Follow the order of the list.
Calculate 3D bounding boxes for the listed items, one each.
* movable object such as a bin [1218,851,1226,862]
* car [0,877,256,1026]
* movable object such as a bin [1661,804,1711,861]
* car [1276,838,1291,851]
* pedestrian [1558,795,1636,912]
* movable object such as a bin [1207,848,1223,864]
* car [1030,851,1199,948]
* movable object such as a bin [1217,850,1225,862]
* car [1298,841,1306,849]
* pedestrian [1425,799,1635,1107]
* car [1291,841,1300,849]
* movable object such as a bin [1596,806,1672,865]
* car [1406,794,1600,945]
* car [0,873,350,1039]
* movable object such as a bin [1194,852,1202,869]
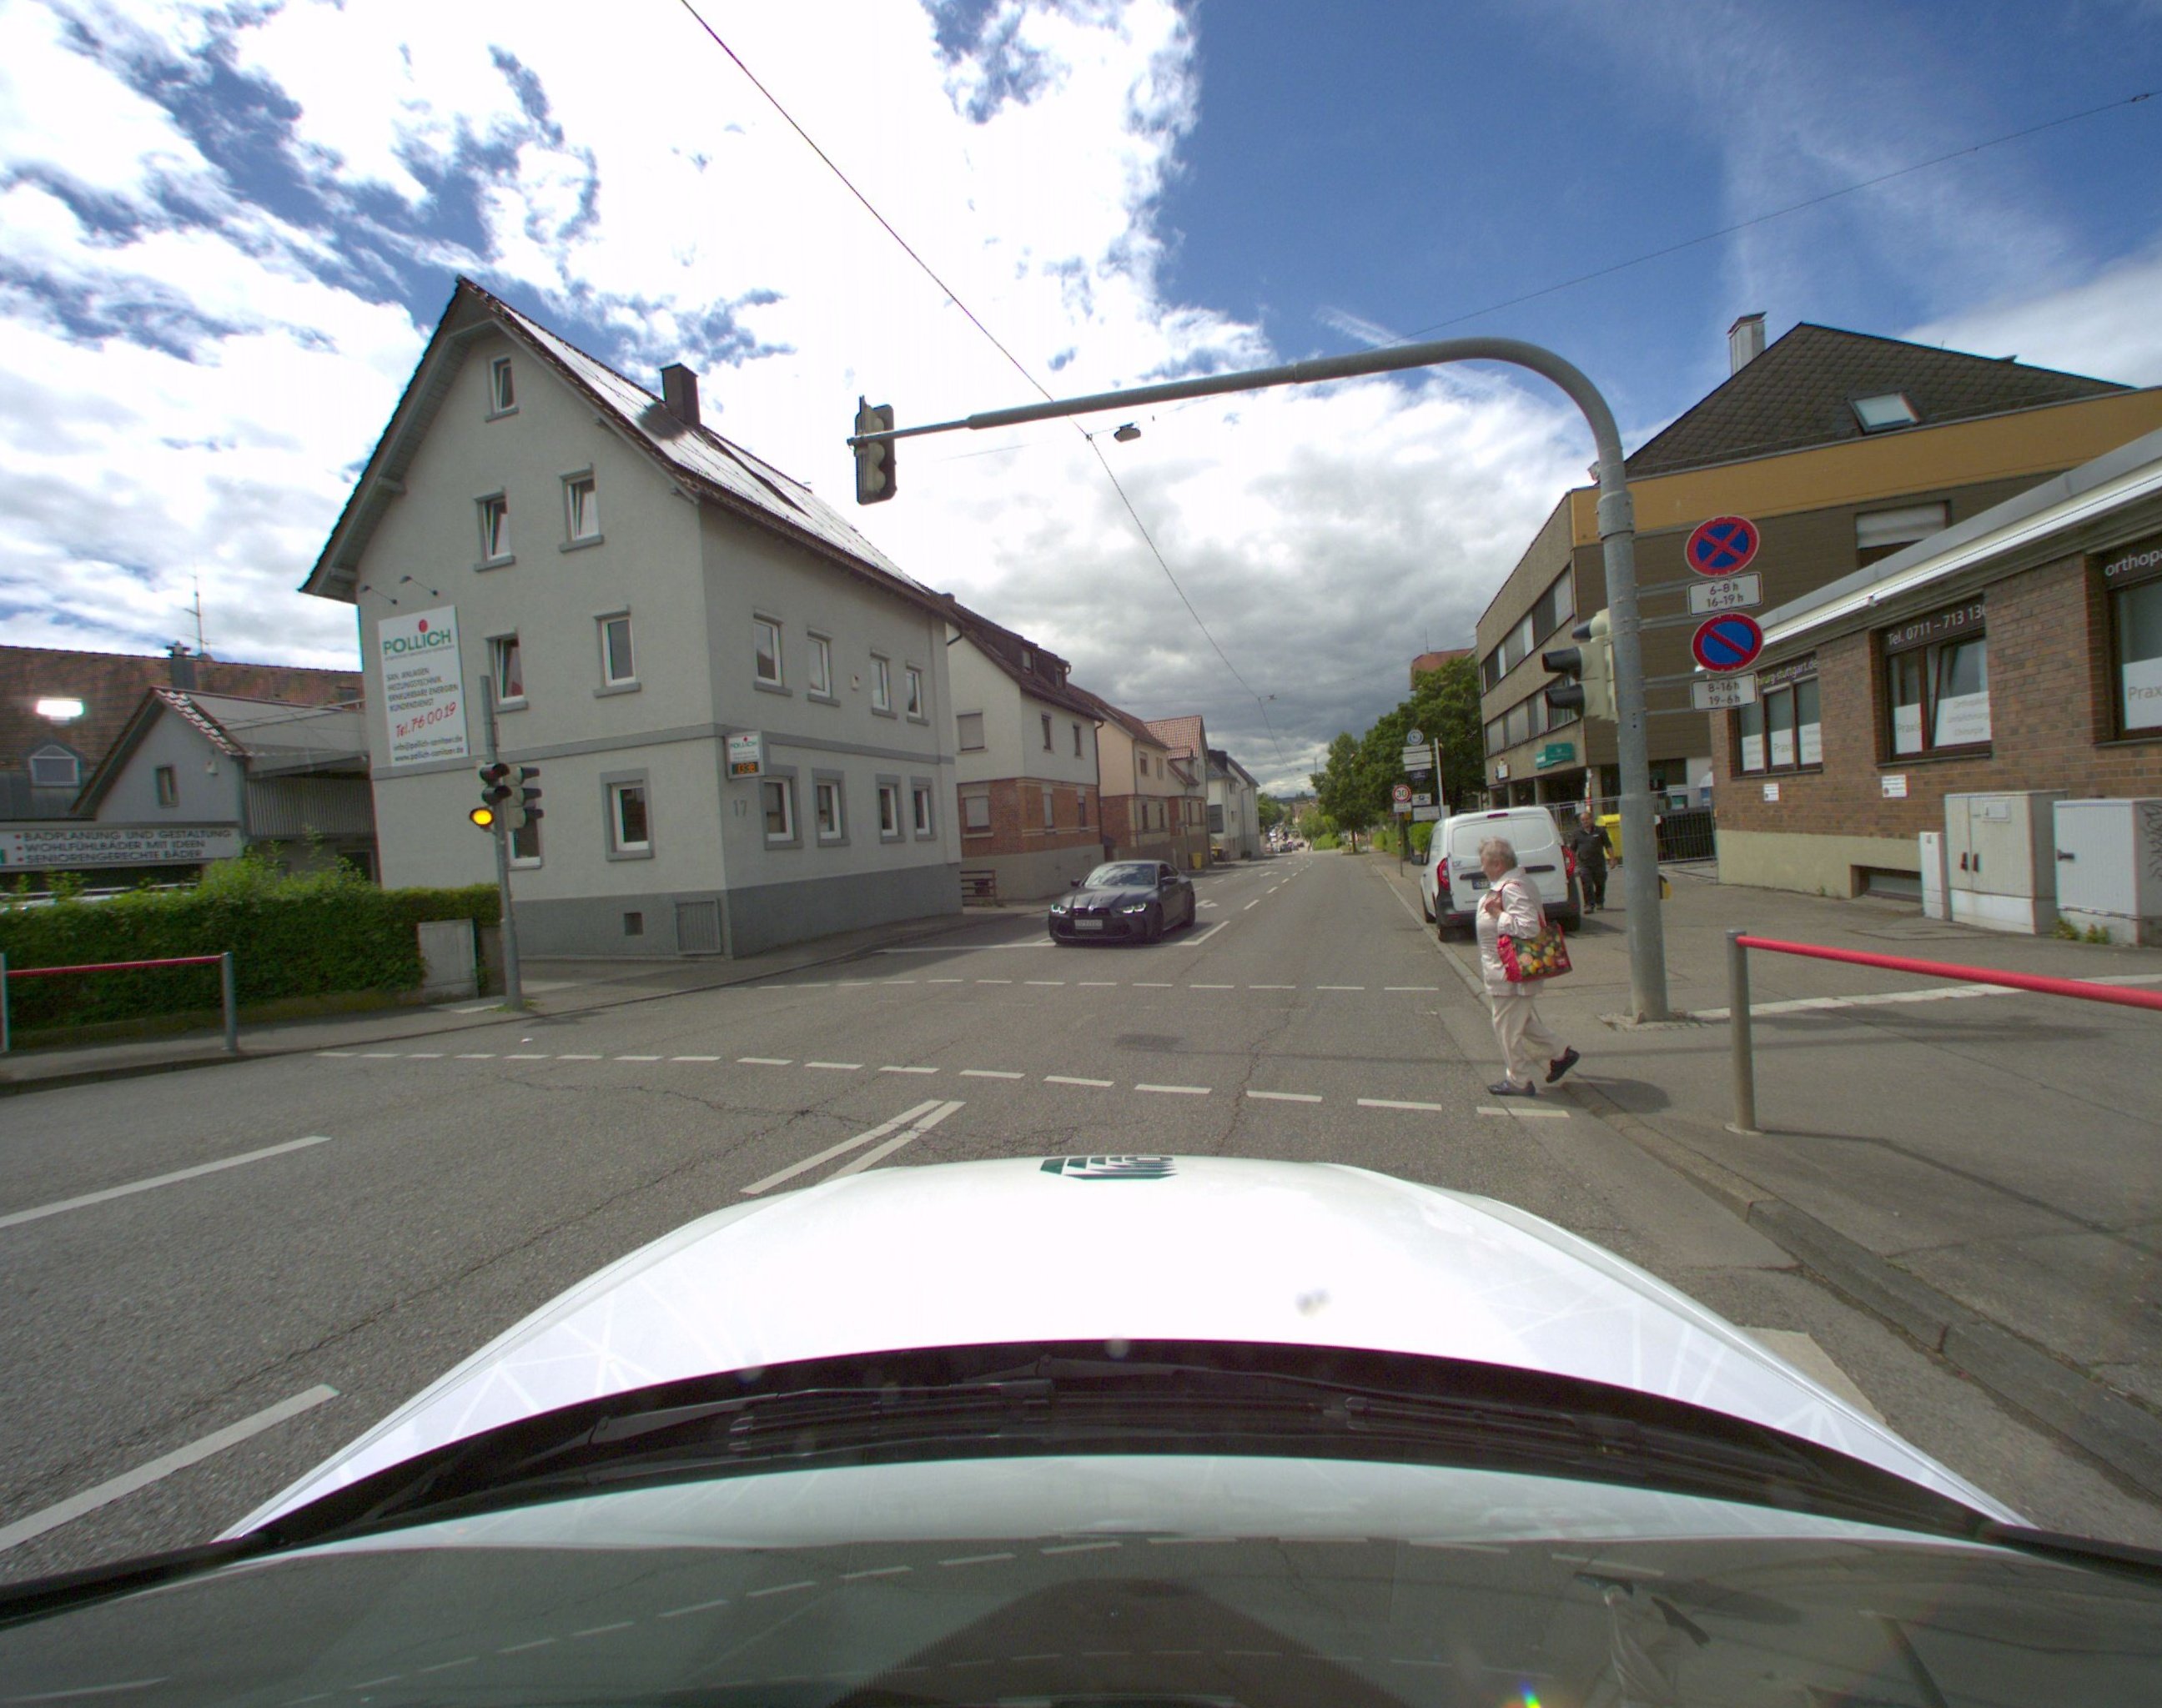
[{"bbox_3d":[12.678,0.227,73.250,0.527,1.030,0.457,-4,0,16],"label":"movable object such as a bin"},{"bbox_3d":[-16.437,1.543,12.998,1.977,2.013,4.020,-4,0,20],"label":"car"},{"bbox_3d":[16.381,-0.591,22.066,0.773,1.439,1.023,-4,2,21],"label":"movable object such as a bin"},{"bbox_3d":[33.681,-1.511,135.755,1.982,2.013,4.010,-4,0,9],"label":"car"},{"bbox_3d":[8.355,-0.003,13.224,0.836,1.803,0.654,-4,0,17],"label":"pedestrian"},{"bbox_3d":[11.935,0.149,72.294,1.272,1.310,0.819,-4,0,12],"label":"movable object such as a bin"},{"bbox_3d":[0.835,0.743,15.437,1.978,1.457,4.639,-2,1,18],"label":"car"},{"bbox_3d":[12.624,0.174,73.455,0.527,1.030,0.457,-4,0,16],"label":"movable object such as a bin"},{"bbox_3d":[63.813,-2.575,234.692,1.979,2.013,4.015,-4,-1,14],"label":"car"},{"bbox_3d":[2.663,0.540,4.875,0.862,1.637,0.842,-6,0,29],"label":"pedestrian"},{"bbox_3d":[57.882,-2.383,219.910,1.979,2.013,4.015,-4,-1,14],"label":"car"},{"bbox_3d":[15.383,-0.532,22.684,1.470,1.492,1.082,-4,2,21],"label":"movable object such as a bin"},{"bbox_3d":[6.409,0.178,12.938,1.895,1.794,4.513,-7,-1,19],"label":"car"},{"bbox_3d":[-14.155,1.417,12.332,1.977,1.947,4.020,-5,0,19],"label":"car"},{"bbox_3d":[8.143,0.433,56.696,0.428,1.128,0.300,-5,0,16],"label":"movable object such as a bin"}]
